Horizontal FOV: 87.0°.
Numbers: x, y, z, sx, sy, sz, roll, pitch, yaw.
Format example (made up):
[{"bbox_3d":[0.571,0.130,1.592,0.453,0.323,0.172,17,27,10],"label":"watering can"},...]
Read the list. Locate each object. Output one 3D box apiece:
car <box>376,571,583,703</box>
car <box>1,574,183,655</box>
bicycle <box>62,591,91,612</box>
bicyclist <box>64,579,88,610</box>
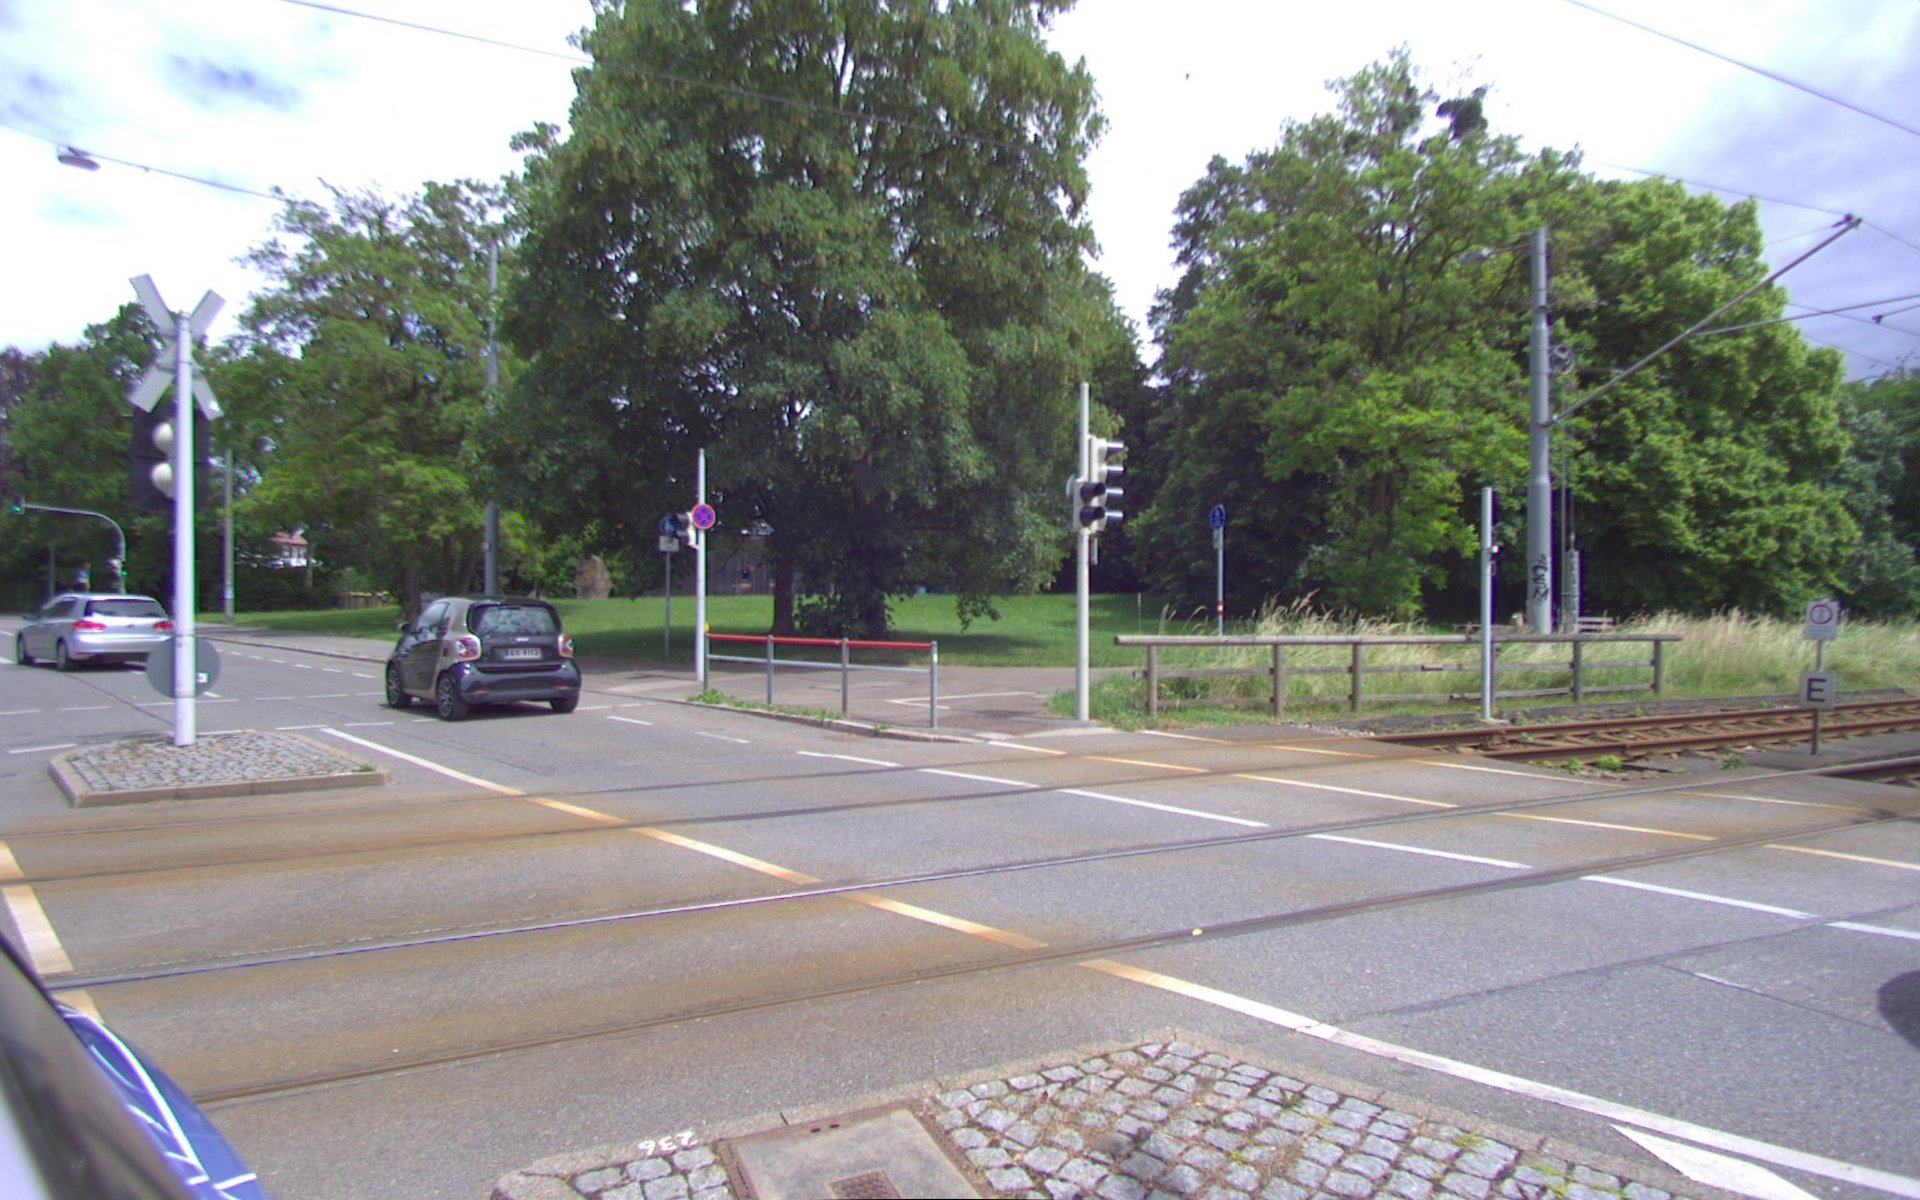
[{"bbox_3d":[-6.421,0.412,13.435,2.788,1.521,1.558,2,1,43],"label":"car"},{"bbox_3d":[-17.333,0.250,20.159,4.057,1.469,1.675,1,0,33],"label":"car"},{"bbox_3d":[-48.223,0.063,55.211,1.797,1.116,0.804,0,1,36],"label":"bicycle"},{"bbox_3d":[-48.178,-0.304,55.167,0.770,1.620,0.798,0,1,36],"label":"bicyclist"}]
